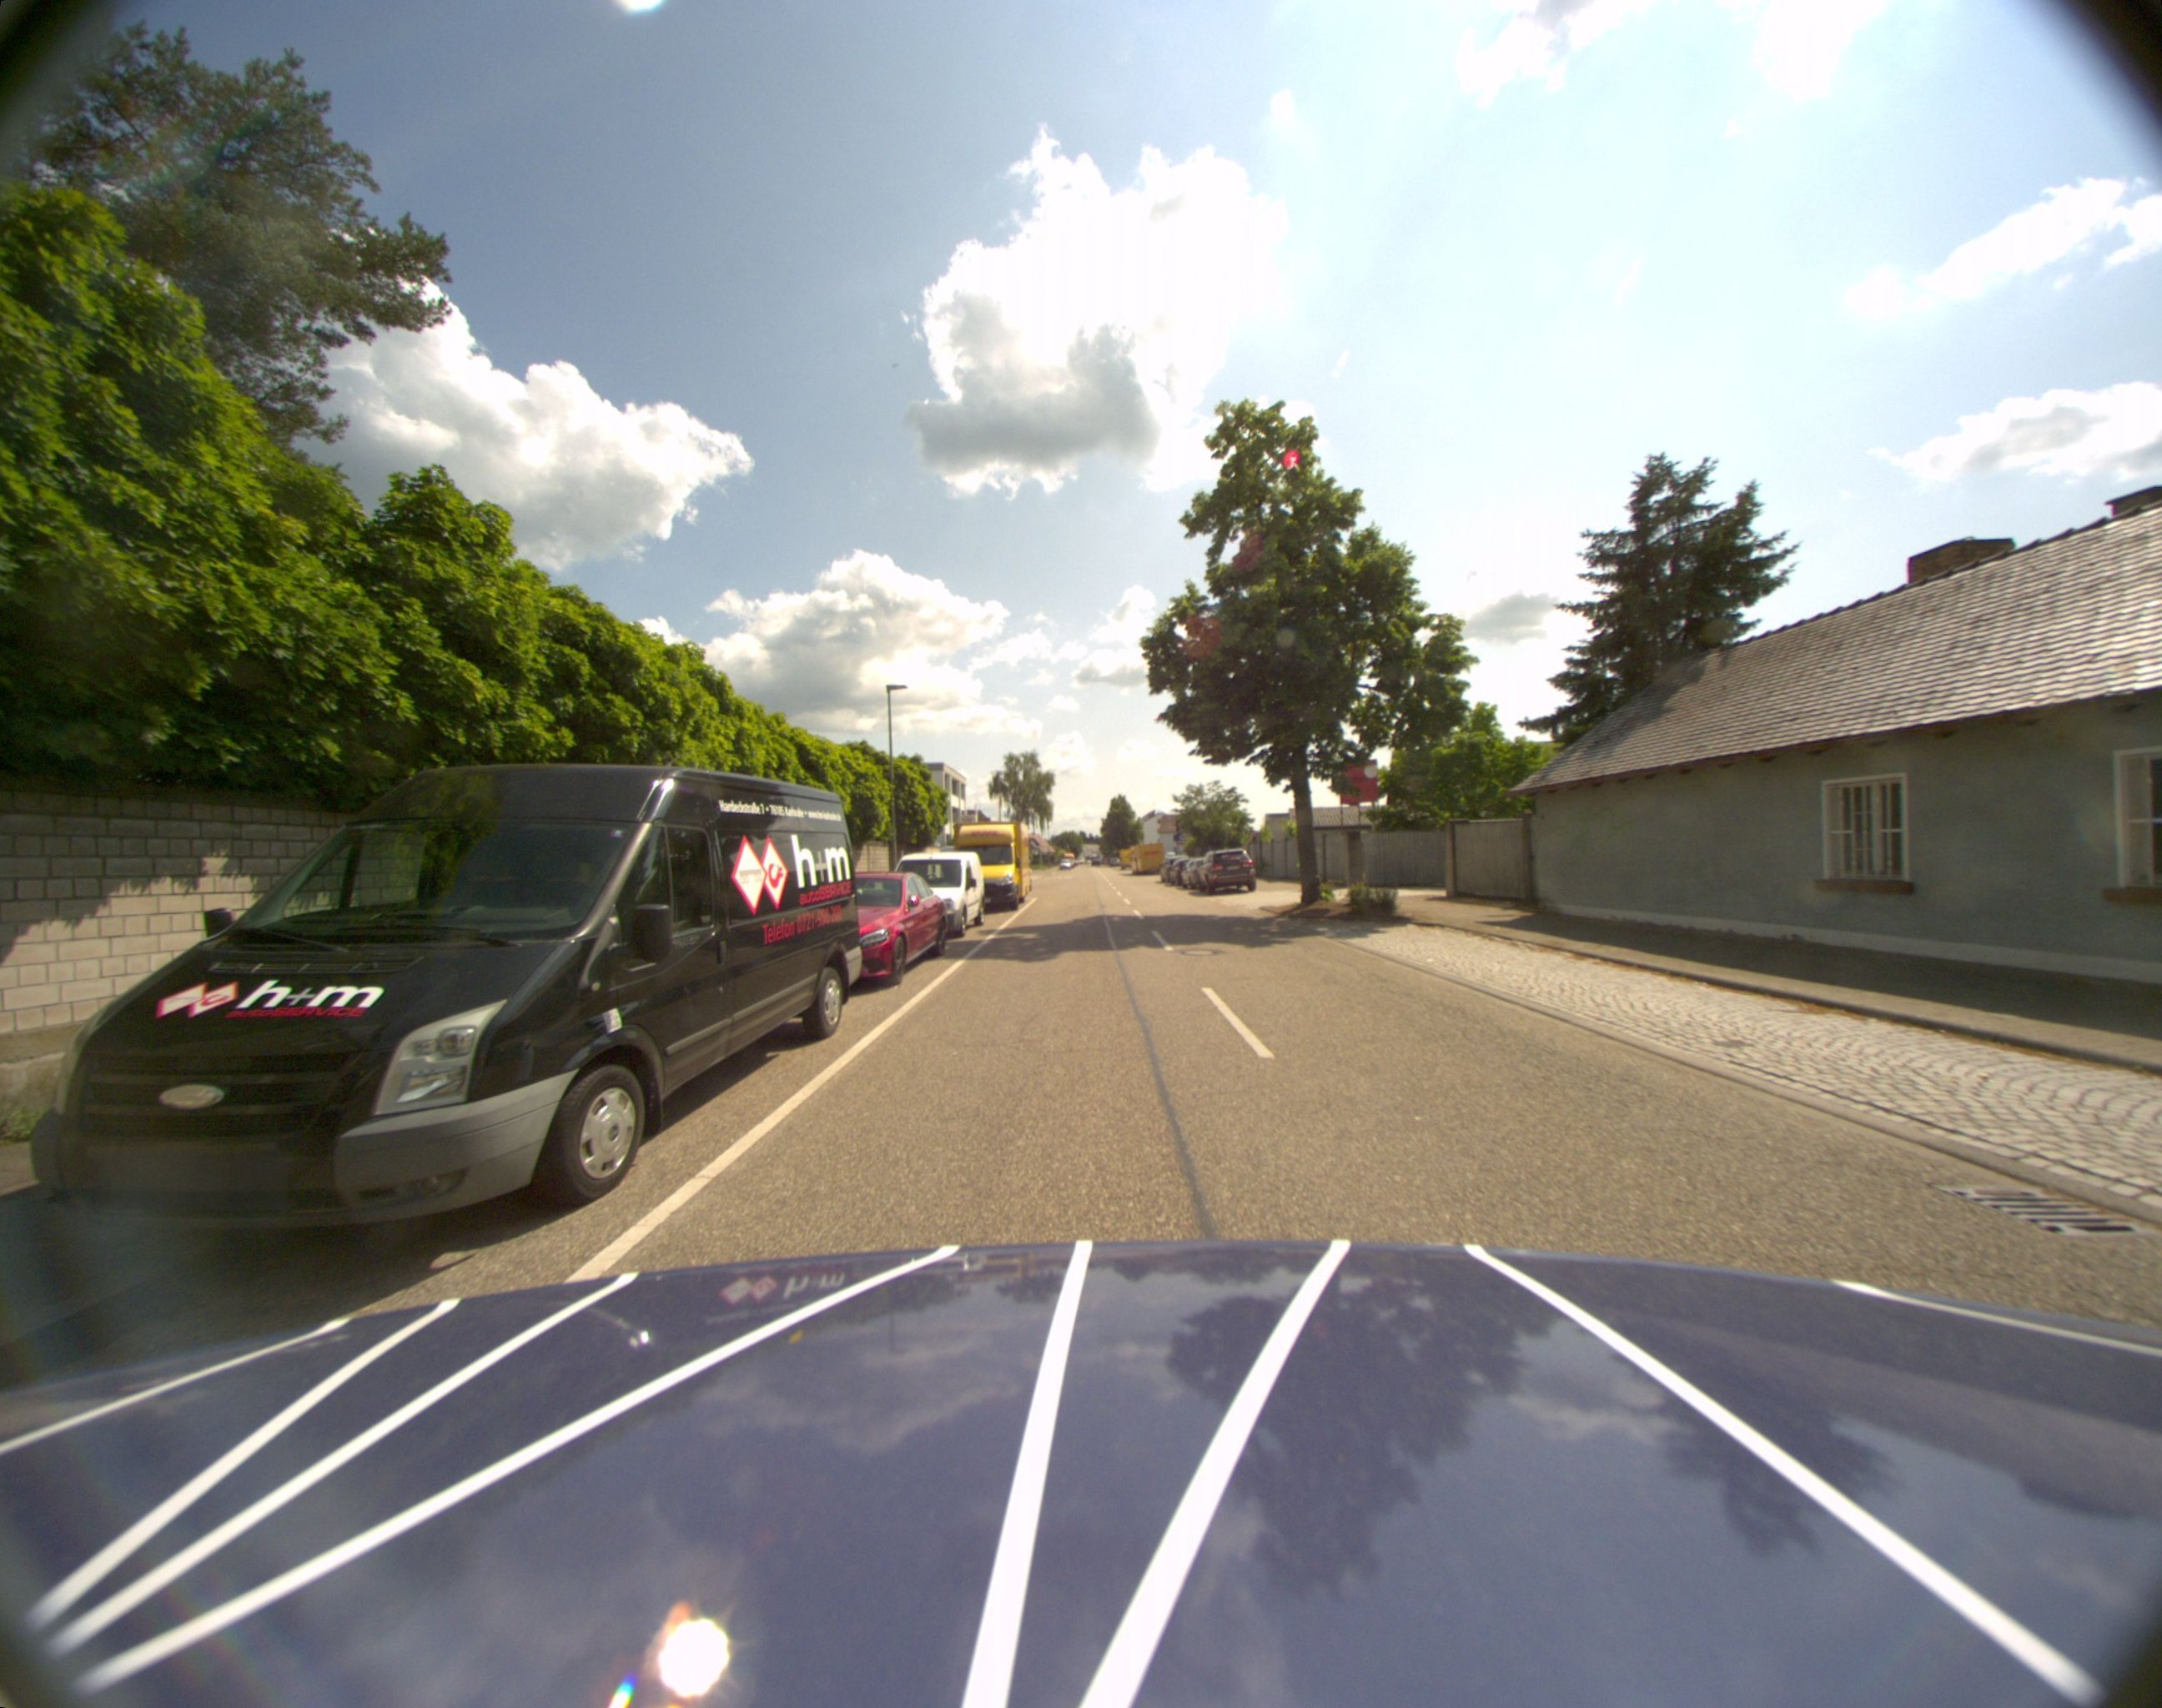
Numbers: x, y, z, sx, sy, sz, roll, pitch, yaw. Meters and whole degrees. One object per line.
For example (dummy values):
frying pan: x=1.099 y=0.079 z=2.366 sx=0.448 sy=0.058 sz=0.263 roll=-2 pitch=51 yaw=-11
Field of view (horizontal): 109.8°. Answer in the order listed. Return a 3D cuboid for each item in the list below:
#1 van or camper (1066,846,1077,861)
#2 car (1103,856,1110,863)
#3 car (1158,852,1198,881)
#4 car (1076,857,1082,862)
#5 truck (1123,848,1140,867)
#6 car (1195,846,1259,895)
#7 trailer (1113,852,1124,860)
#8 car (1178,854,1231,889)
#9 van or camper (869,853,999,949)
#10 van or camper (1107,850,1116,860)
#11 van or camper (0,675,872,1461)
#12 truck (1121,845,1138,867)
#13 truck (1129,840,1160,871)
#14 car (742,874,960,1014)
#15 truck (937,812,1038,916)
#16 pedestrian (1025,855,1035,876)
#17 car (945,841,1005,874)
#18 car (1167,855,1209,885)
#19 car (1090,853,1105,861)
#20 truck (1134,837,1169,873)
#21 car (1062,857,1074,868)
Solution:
van or camper: x=-1.845 y=-0.133 z=142.122 sx=1.999 sy=2.648 sz=5.769 roll=-2 pitch=0 yaw=-1
car: x=6.930 y=1.446 z=207.751 sx=1.814 sy=1.795 sz=4.491 roll=-5 pitch=0 yaw=0
car: x=6.124 y=0.745 z=48.355 sx=1.729 sy=1.595 sz=4.413 roll=-5 pitch=0 yaw=-1
car: x=-0.634 y=1.689 z=234.257 sx=1.896 sy=1.763 sz=4.709 roll=-1 pitch=0 yaw=0
truck: x=6.720 y=0.426 z=102.293 sx=1.998 sy=2.399 sz=6.065 roll=-4 pitch=0 yaw=2
car: x=6.066 y=0.627 z=32.064 sx=1.923 sy=1.811 sz=4.786 roll=-3 pitch=1 yaw=3
trailer: x=6.853 y=0.379 z=140.493 sx=1.766 sy=1.282 sz=4.508 roll=-5 pitch=0 yaw=1
car: x=6.029 y=0.822 z=37.606 sx=1.737 sy=1.509 sz=4.742 roll=-4 pitch=0 yaw=0
van or camper: x=-3.196 y=0.925 z=17.796 sx=1.763 sy=1.795 sz=5.587 roll=-3 pitch=0 yaw=1
van or camper: x=7.203 y=0.188 z=181.105 sx=1.998 sy=2.303 sz=5.935 roll=-2 pitch=0 yaw=3
van or camper: x=-3.209 y=0.662 z=4.971 sx=1.998 sy=2.278 sz=5.447 roll=-3 pitch=0 yaw=1
truck: x=6.919 y=0.276 z=109.245 sx=2.226 sy=2.840 sz=7.070 roll=-3 pitch=0 yaw=2
truck: x=6.276 y=0.192 z=75.766 sx=2.275 sy=2.837 sz=7.175 roll=-3 pitch=-1 yaw=0
car: x=-3.088 y=1.118 z=11.314 sx=1.686 sy=1.434 sz=4.766 roll=-3 pitch=0 yaw=1
truck: x=-2.936 y=0.301 z=25.863 sx=2.481 sy=2.923 sz=7.187 roll=-3 pitch=0 yaw=-1
pedestrian: x=-4.189 y=0.954 z=62.836 sx=0.717 sy=1.687 sz=0.522 roll=4 pitch=0 yaw=-4
car: x=-9.045 y=0.264 z=64.847 sx=4.922 sy=2.636 sz=2.072 roll=-2 pitch=0 yaw=-7
car: x=6.008 y=0.869 z=43.194 sx=1.632 sy=1.440 sz=4.026 roll=-6 pitch=0 yaw=-1
car: x=3.361 y=0.630 z=154.452 sx=2.000 sy=1.386 sz=4.589 roll=-4 pitch=0 yaw=-11
truck: x=6.265 y=0.082 z=68.468 sx=2.322 sy=2.846 sz=7.104 roll=-4 pitch=0 yaw=0
car: x=-1.969 y=1.313 z=117.894 sx=1.614 sy=1.571 sz=4.001 roll=-3 pitch=0 yaw=2
